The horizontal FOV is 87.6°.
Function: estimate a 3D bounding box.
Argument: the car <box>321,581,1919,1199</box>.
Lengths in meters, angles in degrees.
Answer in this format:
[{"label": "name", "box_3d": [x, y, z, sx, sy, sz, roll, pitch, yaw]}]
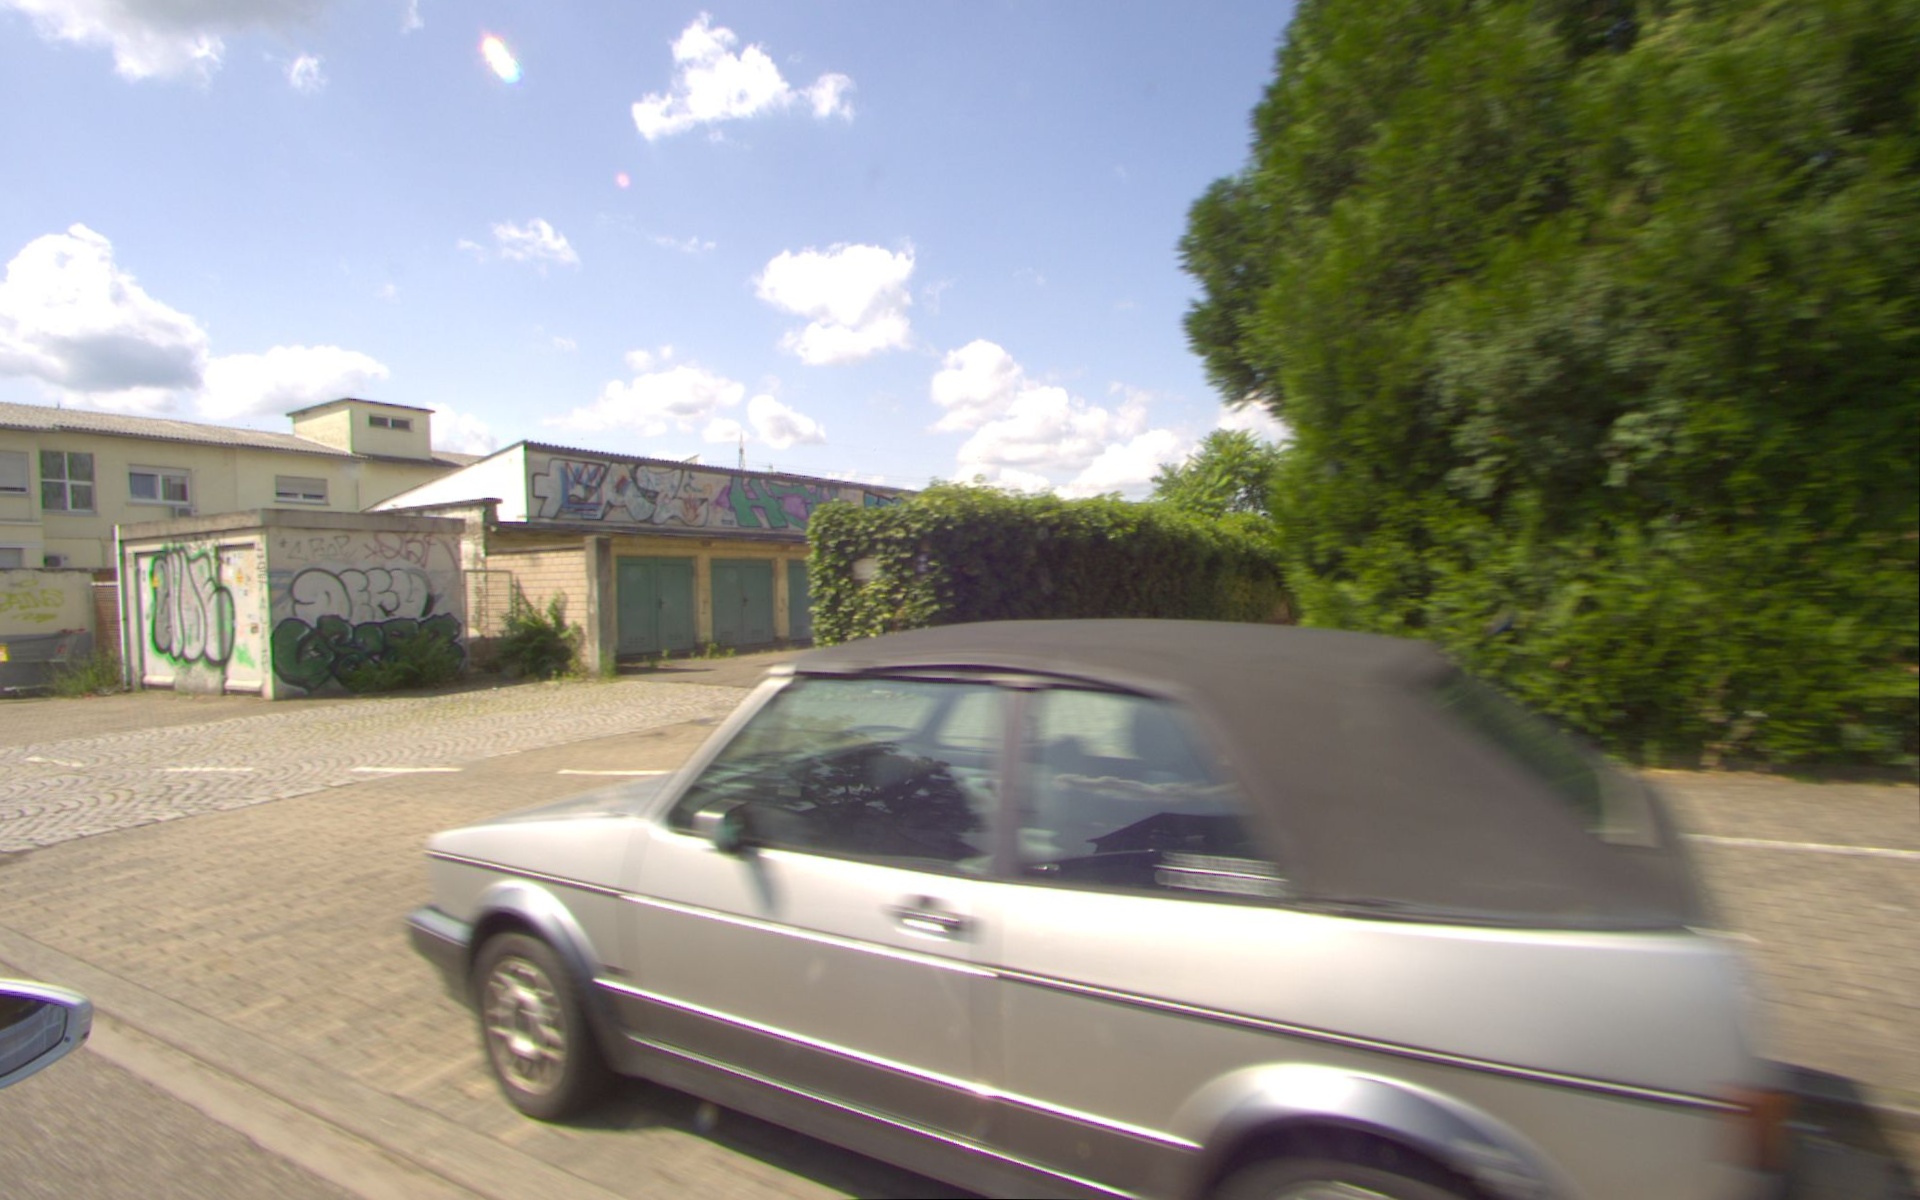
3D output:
[{"label": "car", "box_3d": [-0.041, 0.744, 3.062, 4.039, 1.450, 1.647, -2, 1, 33]}]
